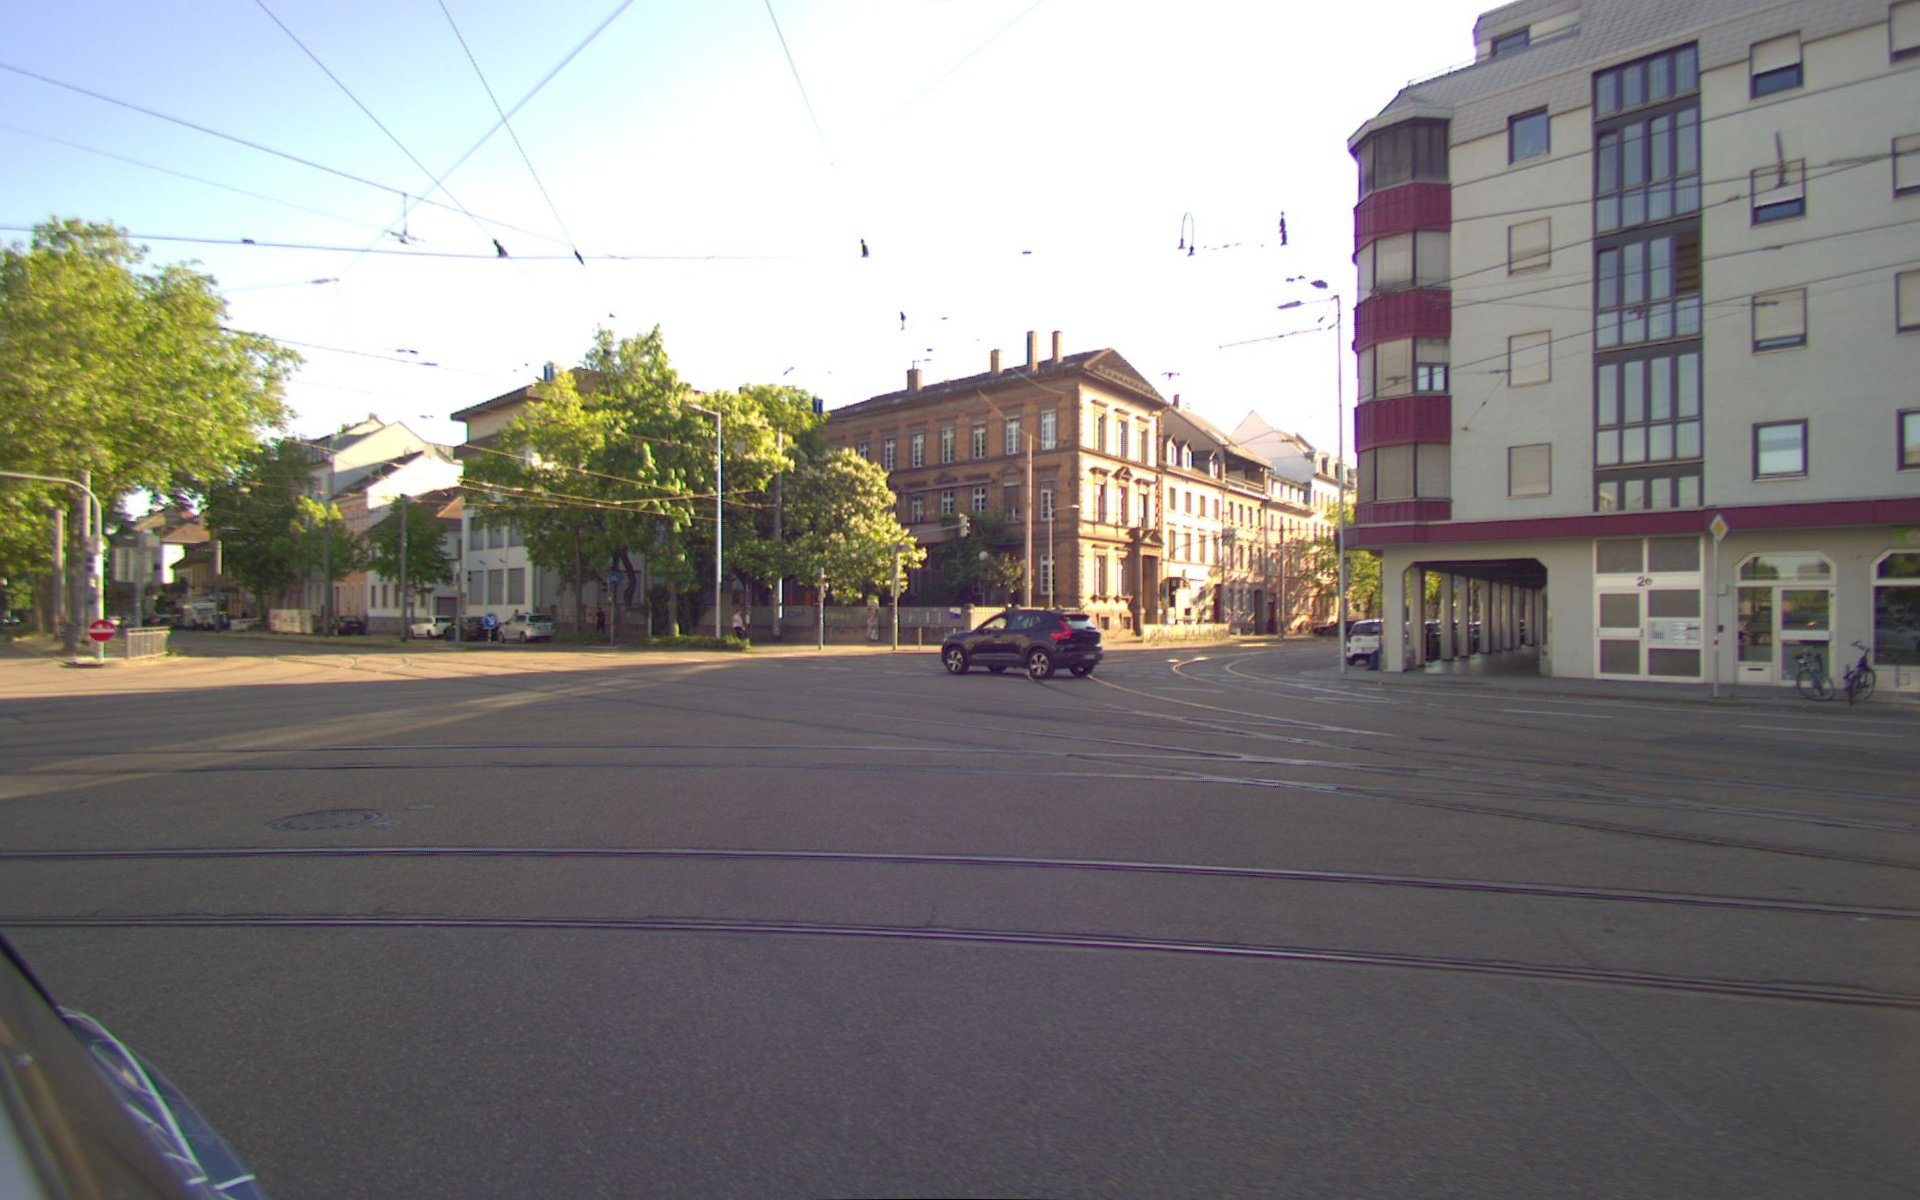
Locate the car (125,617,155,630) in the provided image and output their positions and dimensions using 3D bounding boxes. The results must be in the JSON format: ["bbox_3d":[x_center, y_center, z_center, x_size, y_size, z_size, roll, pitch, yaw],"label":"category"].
[{"bbox_3d":[-102.080,2.907,125.933,5.102,1.551,2.060,-1,1,41],"label":"car"}]

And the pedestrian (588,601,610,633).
[{"bbox_3d":[-19.945,0.938,55.913,1.019,1.765,0.726,-1,-2,41],"label":"pedestrian"}]

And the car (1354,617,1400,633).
[{"bbox_3d":[37.393,2.240,90.793,3.546,1.412,1.678,-1,0,39],"label":"car"}]

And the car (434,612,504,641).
[{"bbox_3d":[-28.391,1.485,58.473,4.455,1.513,2.060,-1,1,41],"label":"car"}]

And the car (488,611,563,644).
[{"bbox_3d":[-23.256,1.436,54.119,4.096,1.631,2.060,-1,1,41],"label":"car"}]

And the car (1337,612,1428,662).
[{"bbox_3d":[14.090,1.188,33.644,1.996,1.567,3.952,-1,-1,36],"label":"car"}]

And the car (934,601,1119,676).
[{"bbox_3d":[1.572,0.909,24.828,4.259,1.685,1.934,-1,-1,42],"label":"car"}]

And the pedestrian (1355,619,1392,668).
[{"bbox_3d":[11.850,1.236,29.024,0.834,1.395,0.849,-1,-1,34],"label":"pedestrian"}]

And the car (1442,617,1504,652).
[{"bbox_3d":[24.637,1.615,48.501,1.996,1.567,4.529,-1,-1,35],"label":"car"}]

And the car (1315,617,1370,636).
[{"bbox_3d":[32.361,2.196,85.665,3.991,1.586,1.976,-1,-1,35],"label":"car"}]

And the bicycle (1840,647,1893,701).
[{"bbox_3d":[16.026,1.290,17.882,1.821,0.860,0.554,1,-1,-44],"label":"bicycle"}]

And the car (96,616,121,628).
[{"bbox_3d":[-120.248,3.038,142.857,4.254,1.551,2.060,-1,1,41],"label":"car"}]

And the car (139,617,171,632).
[{"bbox_3d":[-92.783,2.781,116.687,4.514,1.551,2.060,-1,1,41],"label":"car"}]

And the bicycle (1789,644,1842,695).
[{"bbox_3d":[15.916,1.280,18.817,1.821,0.860,0.554,1,-1,-44],"label":"bicycle"}]

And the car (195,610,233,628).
[{"bbox_3d":[-75.241,1.879,102.042,4.530,1.686,2.060,-1,1,41],"label":"car"}]

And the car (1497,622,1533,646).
[{"bbox_3d":[32.359,1.952,59.009,1.458,1.343,3.144,-1,-1,36],"label":"car"}]

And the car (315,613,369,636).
[{"bbox_3d":[-45.013,1.757,73.702,4.577,1.481,2.060,-1,1,41],"label":"car"}]

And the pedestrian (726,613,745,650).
[{"bbox_3d":[-10.330,1.433,46.607,0.631,1.677,0.562,-1,1,41],"label":"pedestrian"}]

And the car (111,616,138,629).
[{"bbox_3d":[-108.851,2.919,131.795,4.037,1.551,2.060,-1,1,41],"label":"car"}]

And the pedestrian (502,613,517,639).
[{"bbox_3d":[-27.059,1.560,60.783,0.710,1.540,0.531,-1,-1,37],"label":"pedestrian"}]

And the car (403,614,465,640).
[{"bbox_3d":[-32.442,1.636,62.375,3.995,1.501,2.060,-1,1,41],"label":"car"}]
